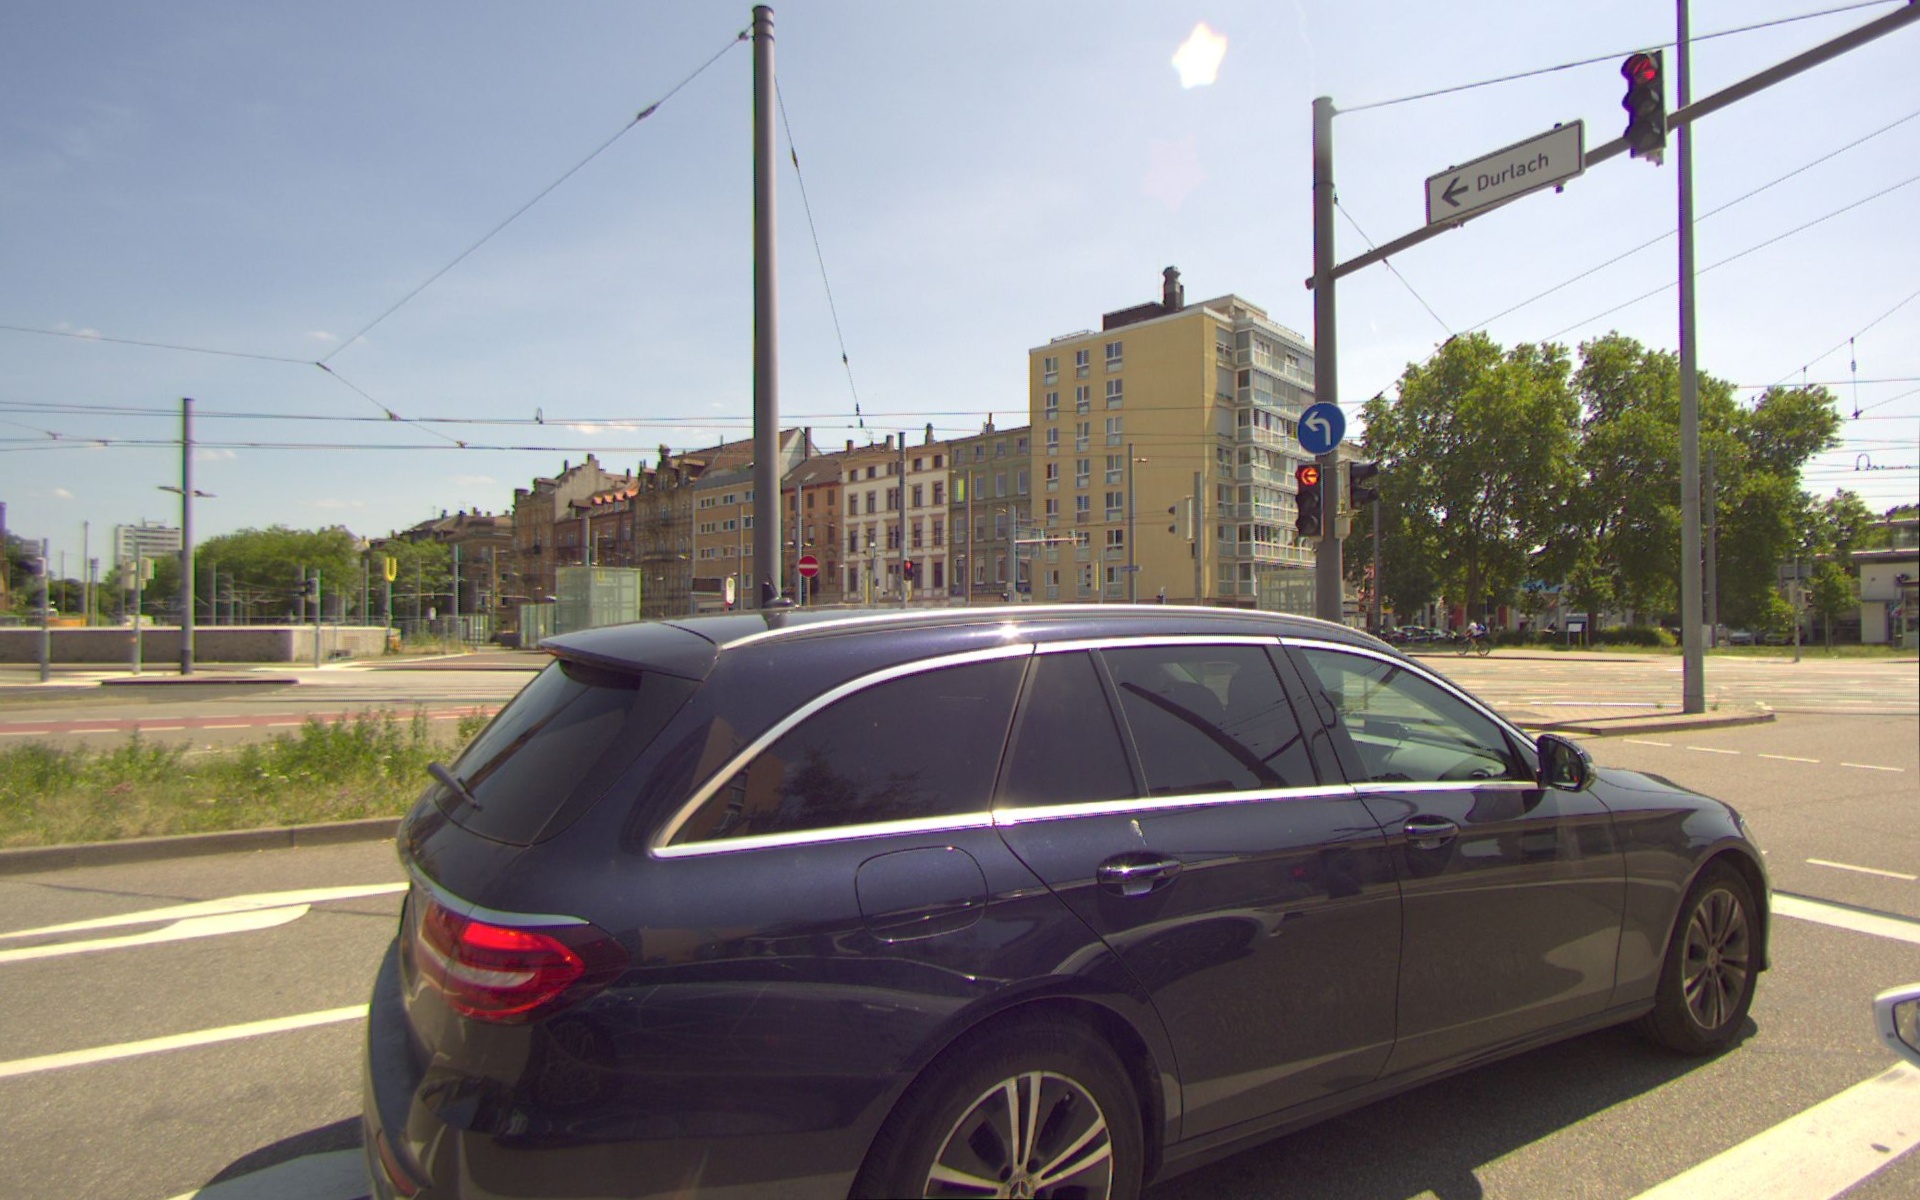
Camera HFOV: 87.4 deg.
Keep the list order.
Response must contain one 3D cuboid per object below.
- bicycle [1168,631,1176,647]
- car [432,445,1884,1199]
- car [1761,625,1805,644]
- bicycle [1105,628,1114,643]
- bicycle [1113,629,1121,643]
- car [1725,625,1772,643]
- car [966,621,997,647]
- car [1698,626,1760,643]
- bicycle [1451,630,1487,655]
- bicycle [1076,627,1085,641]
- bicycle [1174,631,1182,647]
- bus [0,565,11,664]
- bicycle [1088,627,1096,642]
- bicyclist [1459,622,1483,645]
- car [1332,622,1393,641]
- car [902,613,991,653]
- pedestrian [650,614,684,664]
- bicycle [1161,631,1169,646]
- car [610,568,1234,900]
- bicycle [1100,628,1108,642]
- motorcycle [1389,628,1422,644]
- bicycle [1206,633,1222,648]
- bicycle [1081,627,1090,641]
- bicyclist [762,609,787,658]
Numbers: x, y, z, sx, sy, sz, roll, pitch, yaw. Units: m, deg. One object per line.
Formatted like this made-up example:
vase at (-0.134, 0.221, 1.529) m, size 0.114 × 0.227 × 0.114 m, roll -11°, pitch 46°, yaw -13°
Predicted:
bicycle at (14.619, 2.674, 69.347) m, size 0.424 × 1.040 × 1.445 m, roll 0°, pitch -1°, yaw 16°
car at (0.946, 0.667, 3.346) m, size 4.747 × 1.662 × 1.789 m, roll 1°, pitch -2°, yaw -30°
car at (69.744, 2.908, 85.092) m, size 4.283 × 1.530 × 1.756 m, roll 1°, pitch -2°, yaw -35°
bicycle at (10.862, 2.579, 73.082) m, size 0.424 × 1.040 × 1.445 m, roll 0°, pitch -1°, yaw 16°
bicycle at (11.380, 2.593, 72.824) m, size 0.424 × 1.040 × 1.445 m, roll 0°, pitch -1°, yaw 16°
car at (68.861, 2.928, 87.678) m, size 4.274 × 1.530 × 1.759 m, roll 1°, pitch -2°, yaw -30°
car at (1.508, 2.374, 71.091) m, size 1.803 × 1.773 × 3.998 m, roll 0°, pitch -1°, yaw -4°
car at (71.570, 3.210, 93.556) m, size 4.245 × 1.530 × 1.771 m, roll -1°, pitch -2°, yaw 26°
bicycle at (25.702, 2.131, 50.688) m, size 1.489 × 1.233 × 0.713 m, roll -1°, pitch -2°, yaw 44°
bicycle at (8.968, 2.530, 74.854) m, size 0.424 × 1.040 × 1.445 m, roll 0°, pitch -1°, yaw 16°
bicycle at (14.989, 2.684, 69.084) m, size 0.424 × 1.040 × 1.445 m, roll 0°, pitch -1°, yaw 16°
bus at (-35.450, 0.417, 29.454) m, size 11.984 × 3.056 × 2.856 m, roll 0°, pitch -1°, yaw -3°
bicycle at (9.740, 2.549, 74.081) m, size 0.424 × 1.040 × 1.445 m, roll 0°, pitch -1°, yaw 16°
bicyclist at (25.746, 1.669, 50.649) m, size 0.915 × 1.157 × 0.713 m, roll -1°, pitch -2°, yaw 43°
car at (30.755, 2.397, 76.802) m, size 3.940 × 1.439 × 1.991 m, roll -1°, pitch -2°, yaw 40°
car at (-0.767, 1.778, 54.408) m, size 4.803 × 2.084 × 1.989 m, roll -1°, pitch -2°, yaw 43°
pedestrian at (-10.840, 1.428, 37.133) m, size 1.114 × 1.837 × 0.677 m, roll -1°, pitch -1°, yaw 38°
bicycle at (14.244, 2.664, 69.658) m, size 0.424 × 1.040 × 1.445 m, roll 0°, pitch -1°, yaw 16°
car at (-0.198, 0.689, 6.527) m, size 3.693 × 1.597 × 1.736 m, roll 1°, pitch -2°, yaw -30°
bicycle at (10.544, 2.571, 73.478) m, size 0.424 × 1.040 × 1.445 m, roll 0°, pitch -1°, yaw 16°
motorcycle at (28.422, 2.304, 64.046) m, size 1.886 × 0.974 × 0.524 m, roll -1°, pitch -1°, yaw 31°
bicycle at (17.404, 2.755, 68.822) m, size 0.427 × 1.040 × 1.435 m, roll -1°, pitch -2°, yaw 44°
bicycle at (9.311, 2.539, 74.516) m, size 0.424 × 1.040 × 1.445 m, roll 0°, pitch -1°, yaw 16°
bicyclist at (-6.156, 1.105, 33.330) m, size 0.433 × 1.549 × 1.245 m, roll 2°, pitch 0°, yaw -26°
